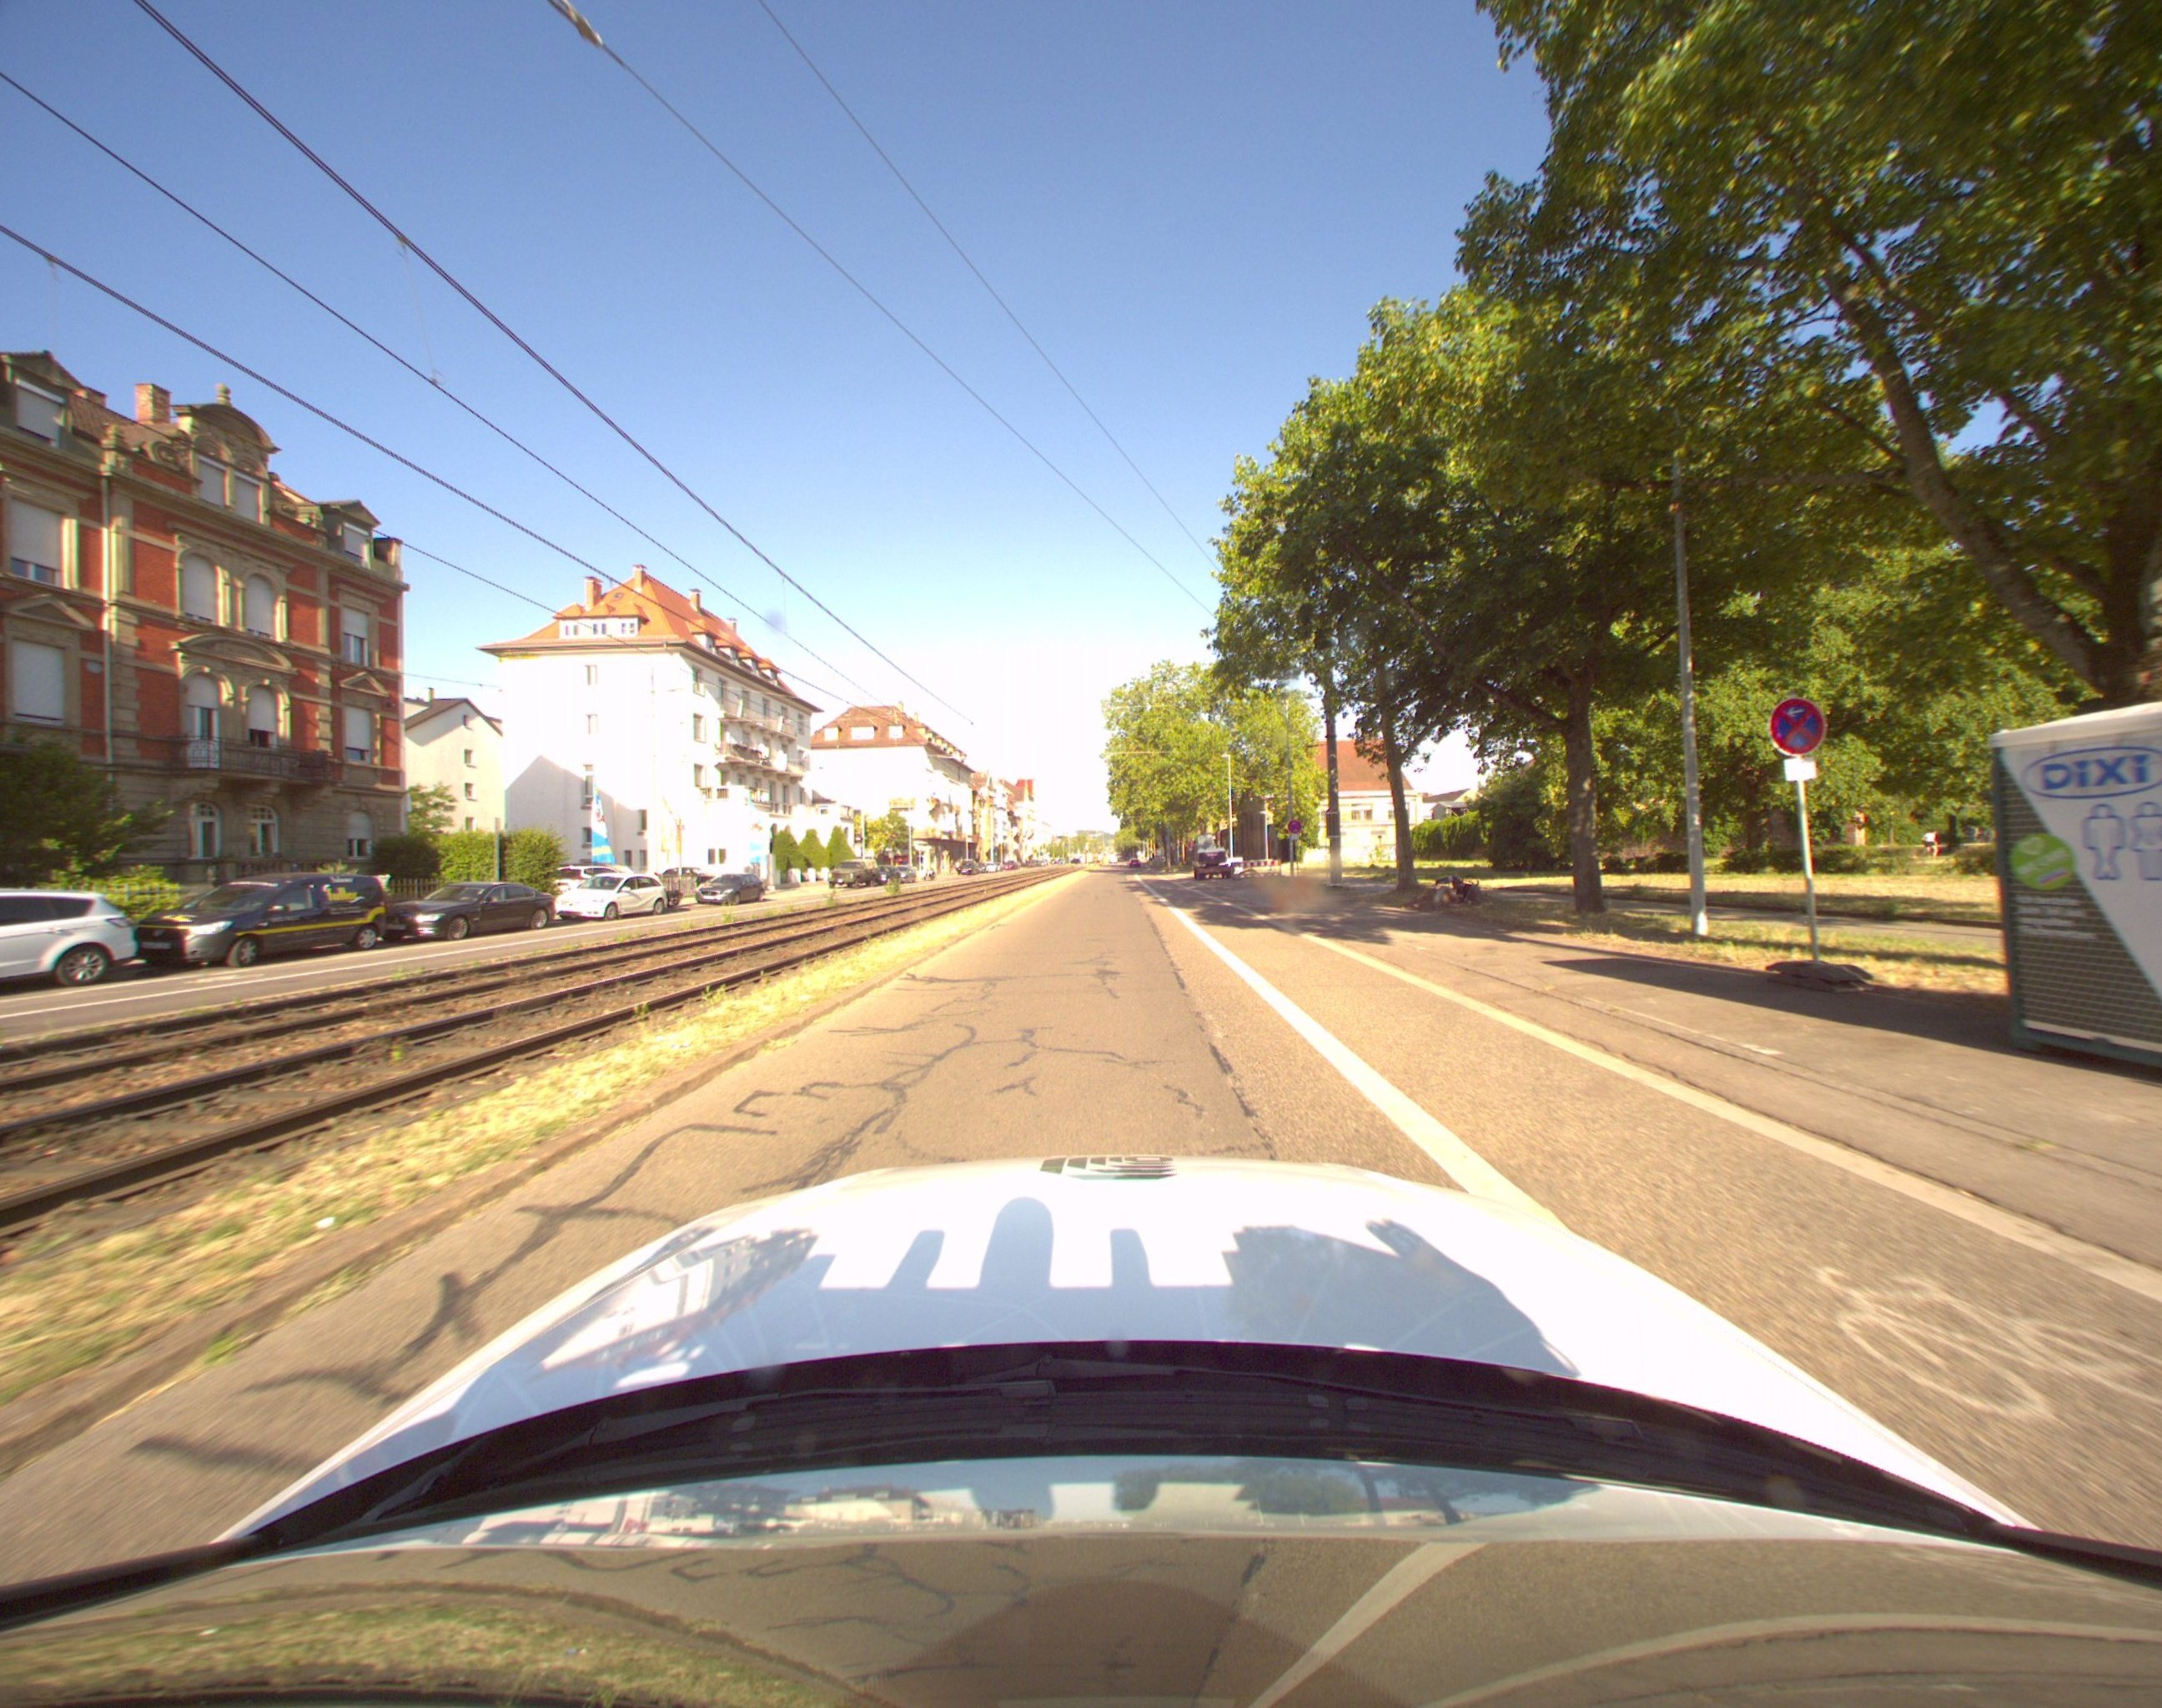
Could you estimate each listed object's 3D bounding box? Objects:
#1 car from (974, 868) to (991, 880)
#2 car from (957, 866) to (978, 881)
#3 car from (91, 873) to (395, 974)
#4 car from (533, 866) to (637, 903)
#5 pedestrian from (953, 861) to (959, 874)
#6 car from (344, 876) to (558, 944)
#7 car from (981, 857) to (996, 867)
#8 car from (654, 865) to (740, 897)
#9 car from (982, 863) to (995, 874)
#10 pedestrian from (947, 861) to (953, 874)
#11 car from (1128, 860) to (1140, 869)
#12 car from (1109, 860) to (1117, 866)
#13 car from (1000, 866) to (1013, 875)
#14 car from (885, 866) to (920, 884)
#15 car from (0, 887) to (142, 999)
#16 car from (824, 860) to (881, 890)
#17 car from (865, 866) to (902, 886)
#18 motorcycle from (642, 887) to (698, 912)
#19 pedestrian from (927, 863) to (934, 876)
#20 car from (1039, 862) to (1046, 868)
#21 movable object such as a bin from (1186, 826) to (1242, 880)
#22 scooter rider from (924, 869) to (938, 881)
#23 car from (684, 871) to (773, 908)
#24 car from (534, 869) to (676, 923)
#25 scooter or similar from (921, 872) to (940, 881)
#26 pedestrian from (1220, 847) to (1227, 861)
[{"bbox_3d":[-13.458,2.711,111.673,1.629,1.469,4.160,2,0,2],"label":"car"},{"bbox_3d":[-14.011,2.377,100.805,1.855,1.786,4.403,0,0,1],"label":"car"},{"bbox_3d":[-17.576,1.354,17.490,1.915,1.781,4.495,0,0,-2],"label":"car"},{"bbox_3d":[-23.991,1.478,39.593,1.894,1.655,4.569,-2,-2,6],"label":"car"},{"bbox_3d":[-16.267,1.751,105.858,0.586,1.697,0.858,0,-1,4],"label":"pedestrian"},{"bbox_3d":[-17.212,1.454,22.663,1.912,1.561,4.848,0,0,5],"label":"car"},{"bbox_3d":[-14.298,1.224,126.314,1.628,1.469,4.162,0,0,3],"label":"car"},{"bbox_3d":[-22.371,1.592,47.564,4.101,1.633,1.958,-2,1,11],"label":"car"},{"bbox_3d":[-13.310,2.022,117.457,1.631,1.469,3.980,1,0,-2],"label":"car"},{"bbox_3d":[-16.966,1.744,105.785,0.586,1.697,0.858,0,-1,4],"label":"pedestrian"},{"bbox_3d":[8.654,1.768,133.769,1.826,1.391,4.160,-1,-1,2],"label":"car"},{"bbox_3d":[9.039,2.571,232.651,1.791,1.510,3.992,1,-1,-5],"label":"car"},{"bbox_3d":[-12.588,2.819,138.018,1.829,1.391,4.032,2,-1,-2],"label":"car"},{"bbox_3d":[-15.185,1.799,69.452,1.786,1.510,4.004,0,-1,4],"label":"car"},{"bbox_3d":[-17.871,1.418,12.284,1.913,1.683,4.630,0,0,3],"label":"car"},{"bbox_3d":[-16.051,1.446,57.630,2.068,2.010,5.598,0,0,4],"label":"car"},{"bbox_3d":[-15.438,1.679,63.790,1.628,1.507,4.163,0,-1,4],"label":"car"},{"bbox_3d":[-17.032,1.856,33.814,0.820,0.954,2.160,0,-1,16],"label":"motorcycle"},{"bbox_3d":[-18.485,1.902,100.250,0.636,1.661,0.955,0,-1,4],"label":"pedestrian"},{"bbox_3d":[-9.737,2.808,205.655,1.789,1.510,3.997,2,0,-2],"label":"car"},{"bbox_3d":[8.650,-0.063,53.810,2.732,3.145,7.225,-5,0,3],"label":"movable object such as a bin"},{"bbox_3d":[-14.101,1.954,76.457,0.966,1.089,0.813,-3,-1,33],"label":"scooter rider"},{"bbox_3d":[-16.421,1.606,38.227,1.914,1.461,4.842,4,0,1],"label":"car"},{"bbox_3d":[-16.835,1.412,29.163,1.912,1.694,4.848,0,0,5],"label":"car"},{"bbox_3d":[-14.131,2.111,76.476,1.549,0.770,0.813,-3,-1,33],"label":"scooter or similar"},{"bbox_3d":[18.077,-0.021,103.327,0.606,1.682,0.636,-5,-1,0],"label":"pedestrian"}]
